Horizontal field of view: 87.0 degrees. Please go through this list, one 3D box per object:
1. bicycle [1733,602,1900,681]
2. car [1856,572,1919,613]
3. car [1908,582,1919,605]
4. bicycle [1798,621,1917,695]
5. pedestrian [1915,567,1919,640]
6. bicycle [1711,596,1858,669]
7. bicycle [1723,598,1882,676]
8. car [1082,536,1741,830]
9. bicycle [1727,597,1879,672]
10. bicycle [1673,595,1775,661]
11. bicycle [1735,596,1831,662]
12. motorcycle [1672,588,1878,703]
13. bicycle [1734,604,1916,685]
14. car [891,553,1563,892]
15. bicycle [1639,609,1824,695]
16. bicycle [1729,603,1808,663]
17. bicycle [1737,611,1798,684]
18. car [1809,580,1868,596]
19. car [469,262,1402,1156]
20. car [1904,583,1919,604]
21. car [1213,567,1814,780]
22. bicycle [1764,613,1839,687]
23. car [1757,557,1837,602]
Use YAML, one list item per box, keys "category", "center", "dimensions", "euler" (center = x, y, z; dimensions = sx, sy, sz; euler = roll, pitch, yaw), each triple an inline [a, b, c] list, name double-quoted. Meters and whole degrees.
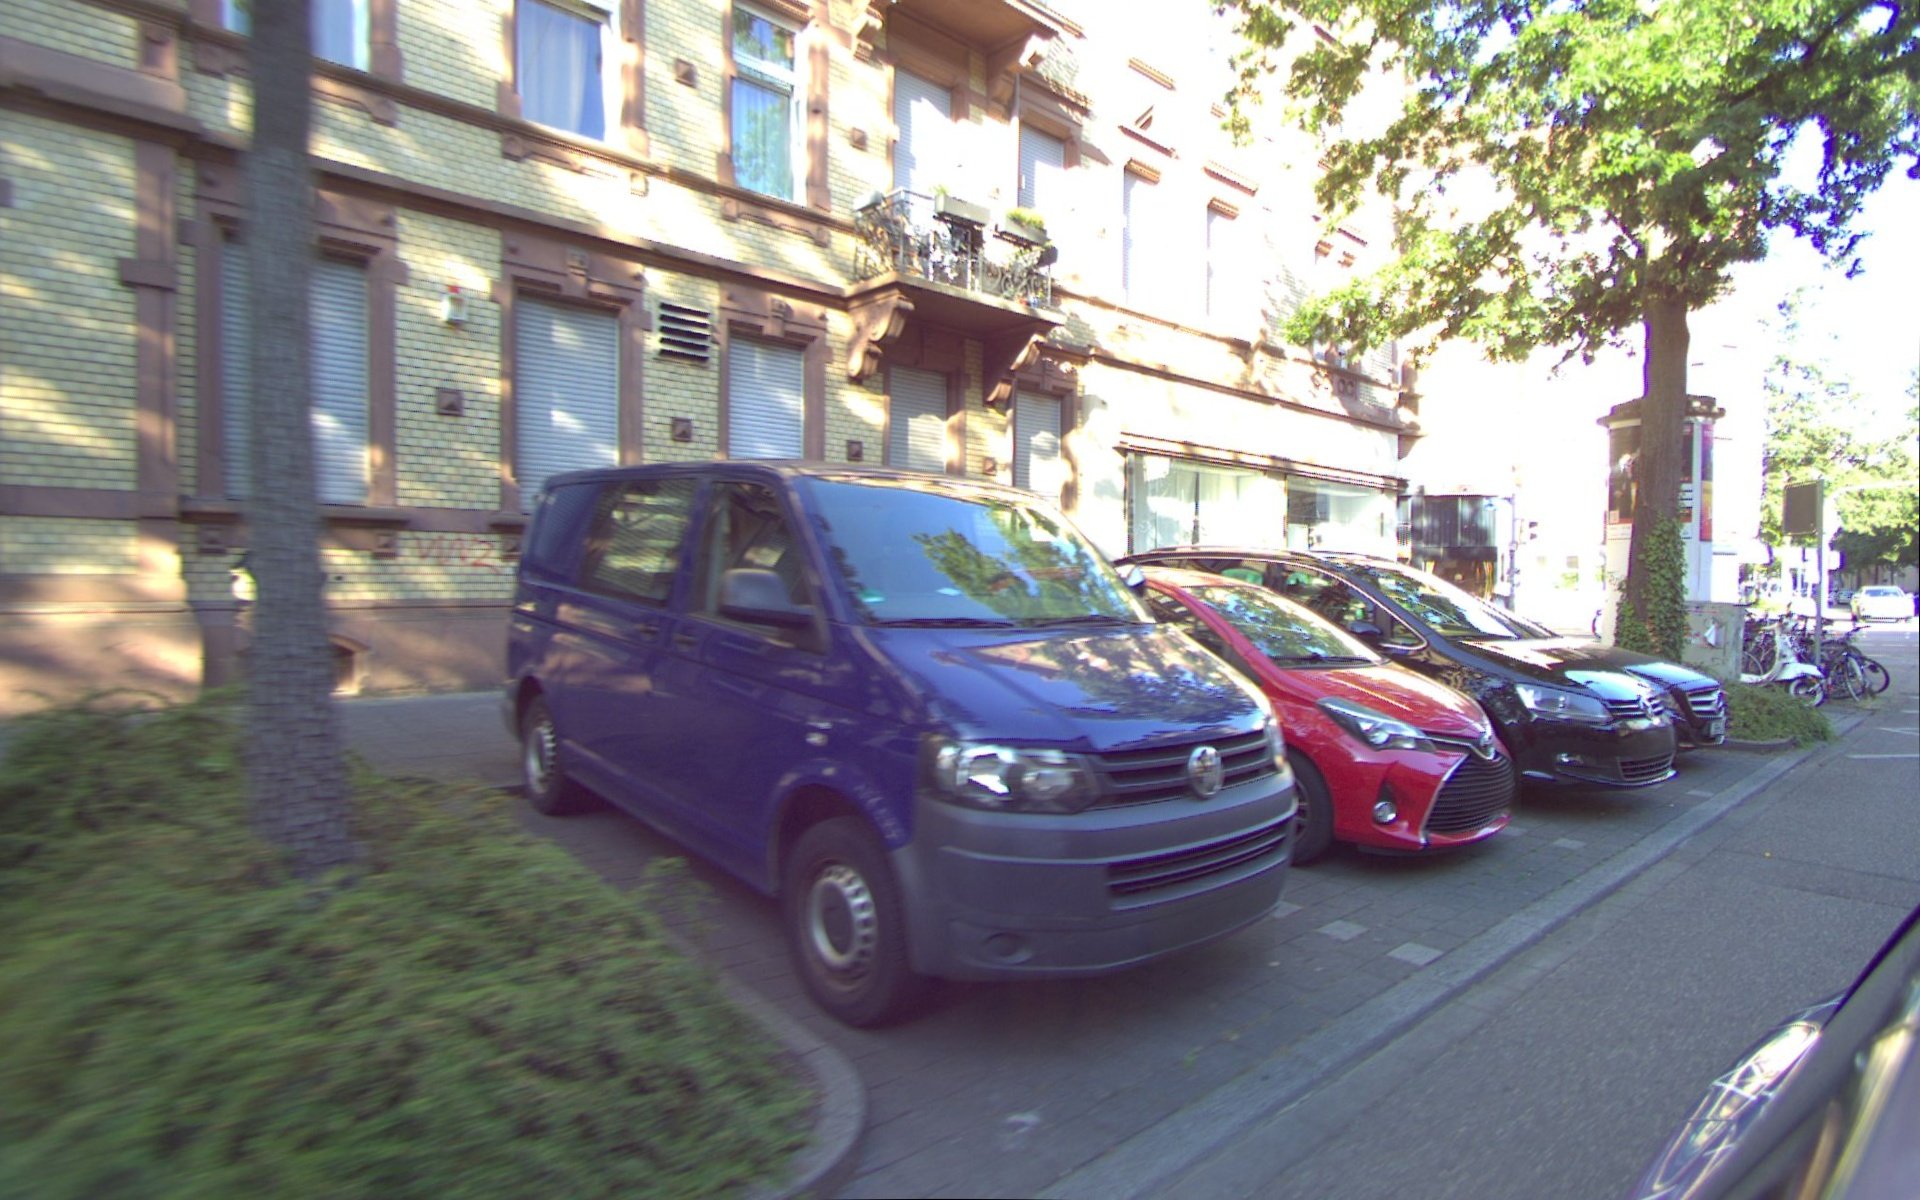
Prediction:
- category: "bicycle"
  center: [13.280, 0.628, 15.732]
  dimensions: [1.906, 1.064, 0.501]
  euler: [3, 3, 12]
- category: "car"
  center: [42.949, -0.365, 46.566]
  dimensions: [1.986, 1.771, 3.953]
  euler: [1, 2, 33]
- category: "car"
  center: [70.358, -0.453, 71.669]
  dimensions: [4.265, 1.604, 1.980]
  euler: [1, 1, 29]
- category: "bicycle"
  center: [11.901, 0.770, 13.423]
  dimensions: [1.383, 0.938, 0.355]
  euler: [1, 3, -12]
- category: "pedestrian"
  center: [22.616, 0.099, 22.857]
  dimensions: [1.158, 1.701, 1.001]
  euler: [1, 1, 19]
- category: "bicycle"
  center: [14.014, 0.543, 17.229]
  dimensions: [1.905, 1.106, 0.424]
  euler: [3, 3, 10]
- category: "bicycle"
  center: [13.443, 0.584, 16.194]
  dimensions: [1.906, 1.106, 0.424]
  euler: [3, 3, 12]
- category: "car"
  center: [3.219, 0.354, 8.334]
  dimensions: [1.815, 1.699, 4.708]
  euler: [0, 3, -32]
- category: "bicycle"
  center: [13.930, 0.565, 16.761]
  dimensions: [1.905, 1.106, 0.424]
  euler: [3, 3, 10]
- category: "bicycle"
  center: [13.744, 0.493, 18.213]
  dimensions: [1.447, 1.106, 0.575]
  euler: [1, 3, -10]
- category: "bicycle"
  center: [14.514, 0.504, 17.851]
  dimensions: [1.446, 1.106, 0.426]
  euler: [1, 3, -12]
- category: "motorcycle"
  center: [10.330, 0.528, 12.891]
  dimensions: [0.674, 1.249, 1.902]
  euler: [0, 4, -41]
- category: "bicycle"
  center: [12.766, 0.638, 15.007]
  dimensions: [1.918, 0.999, 0.492]
  euler: [4, 4, 27]
- category: "car"
  center: [1.448, 0.505, 6.759]
  dimensions: [1.695, 1.553, 4.113]
  euler: [-1, 2, -41]
- category: "bicycle"
  center: [10.459, 0.673, 13.793]
  dimensions: [0.348, 0.938, 1.934]
  euler: [-1, 5, -42]
- category: "bicycle"
  center: [14.894, 0.584, 18.675]
  dimensions: [0.990, 1.039, 0.732]
  euler: [1, 1, 27]
- category: "bicycle"
  center: [11.562, 0.663, 14.481]
  dimensions: [1.498, 0.938, 0.354]
  euler: [-1, 4, -41]
- category: "car"
  center: [90.710, -1.245, 104.573]
  dimensions: [4.268, 1.604, 1.979]
  euler: [1, 1, 30]
- category: "car"
  center: [-0.709, 0.208, 5.093]
  dimensions: [1.958, 2.242, 5.030]
  euler: [-1, 2, -41]
- category: "car"
  center: [74.345, -0.449, 76.259]
  dimensions: [4.268, 1.604, 1.979]
  euler: [1, 1, 30]
- category: "car"
  center: [5.012, 0.472, 9.882]
  dimensions: [1.818, 1.430, 4.798]
  euler: [-1, 3, -39]
- category: "bicycle"
  center: [11.730, 0.679, 14.099]
  dimensions: [1.496, 0.938, 0.355]
  euler: [0, 4, -34]
- category: "car"
  center: [63.220, -1.592, 76.655]
  dimensions: [3.299, 3.218, 7.997]
  euler: [1, 2, 30]
